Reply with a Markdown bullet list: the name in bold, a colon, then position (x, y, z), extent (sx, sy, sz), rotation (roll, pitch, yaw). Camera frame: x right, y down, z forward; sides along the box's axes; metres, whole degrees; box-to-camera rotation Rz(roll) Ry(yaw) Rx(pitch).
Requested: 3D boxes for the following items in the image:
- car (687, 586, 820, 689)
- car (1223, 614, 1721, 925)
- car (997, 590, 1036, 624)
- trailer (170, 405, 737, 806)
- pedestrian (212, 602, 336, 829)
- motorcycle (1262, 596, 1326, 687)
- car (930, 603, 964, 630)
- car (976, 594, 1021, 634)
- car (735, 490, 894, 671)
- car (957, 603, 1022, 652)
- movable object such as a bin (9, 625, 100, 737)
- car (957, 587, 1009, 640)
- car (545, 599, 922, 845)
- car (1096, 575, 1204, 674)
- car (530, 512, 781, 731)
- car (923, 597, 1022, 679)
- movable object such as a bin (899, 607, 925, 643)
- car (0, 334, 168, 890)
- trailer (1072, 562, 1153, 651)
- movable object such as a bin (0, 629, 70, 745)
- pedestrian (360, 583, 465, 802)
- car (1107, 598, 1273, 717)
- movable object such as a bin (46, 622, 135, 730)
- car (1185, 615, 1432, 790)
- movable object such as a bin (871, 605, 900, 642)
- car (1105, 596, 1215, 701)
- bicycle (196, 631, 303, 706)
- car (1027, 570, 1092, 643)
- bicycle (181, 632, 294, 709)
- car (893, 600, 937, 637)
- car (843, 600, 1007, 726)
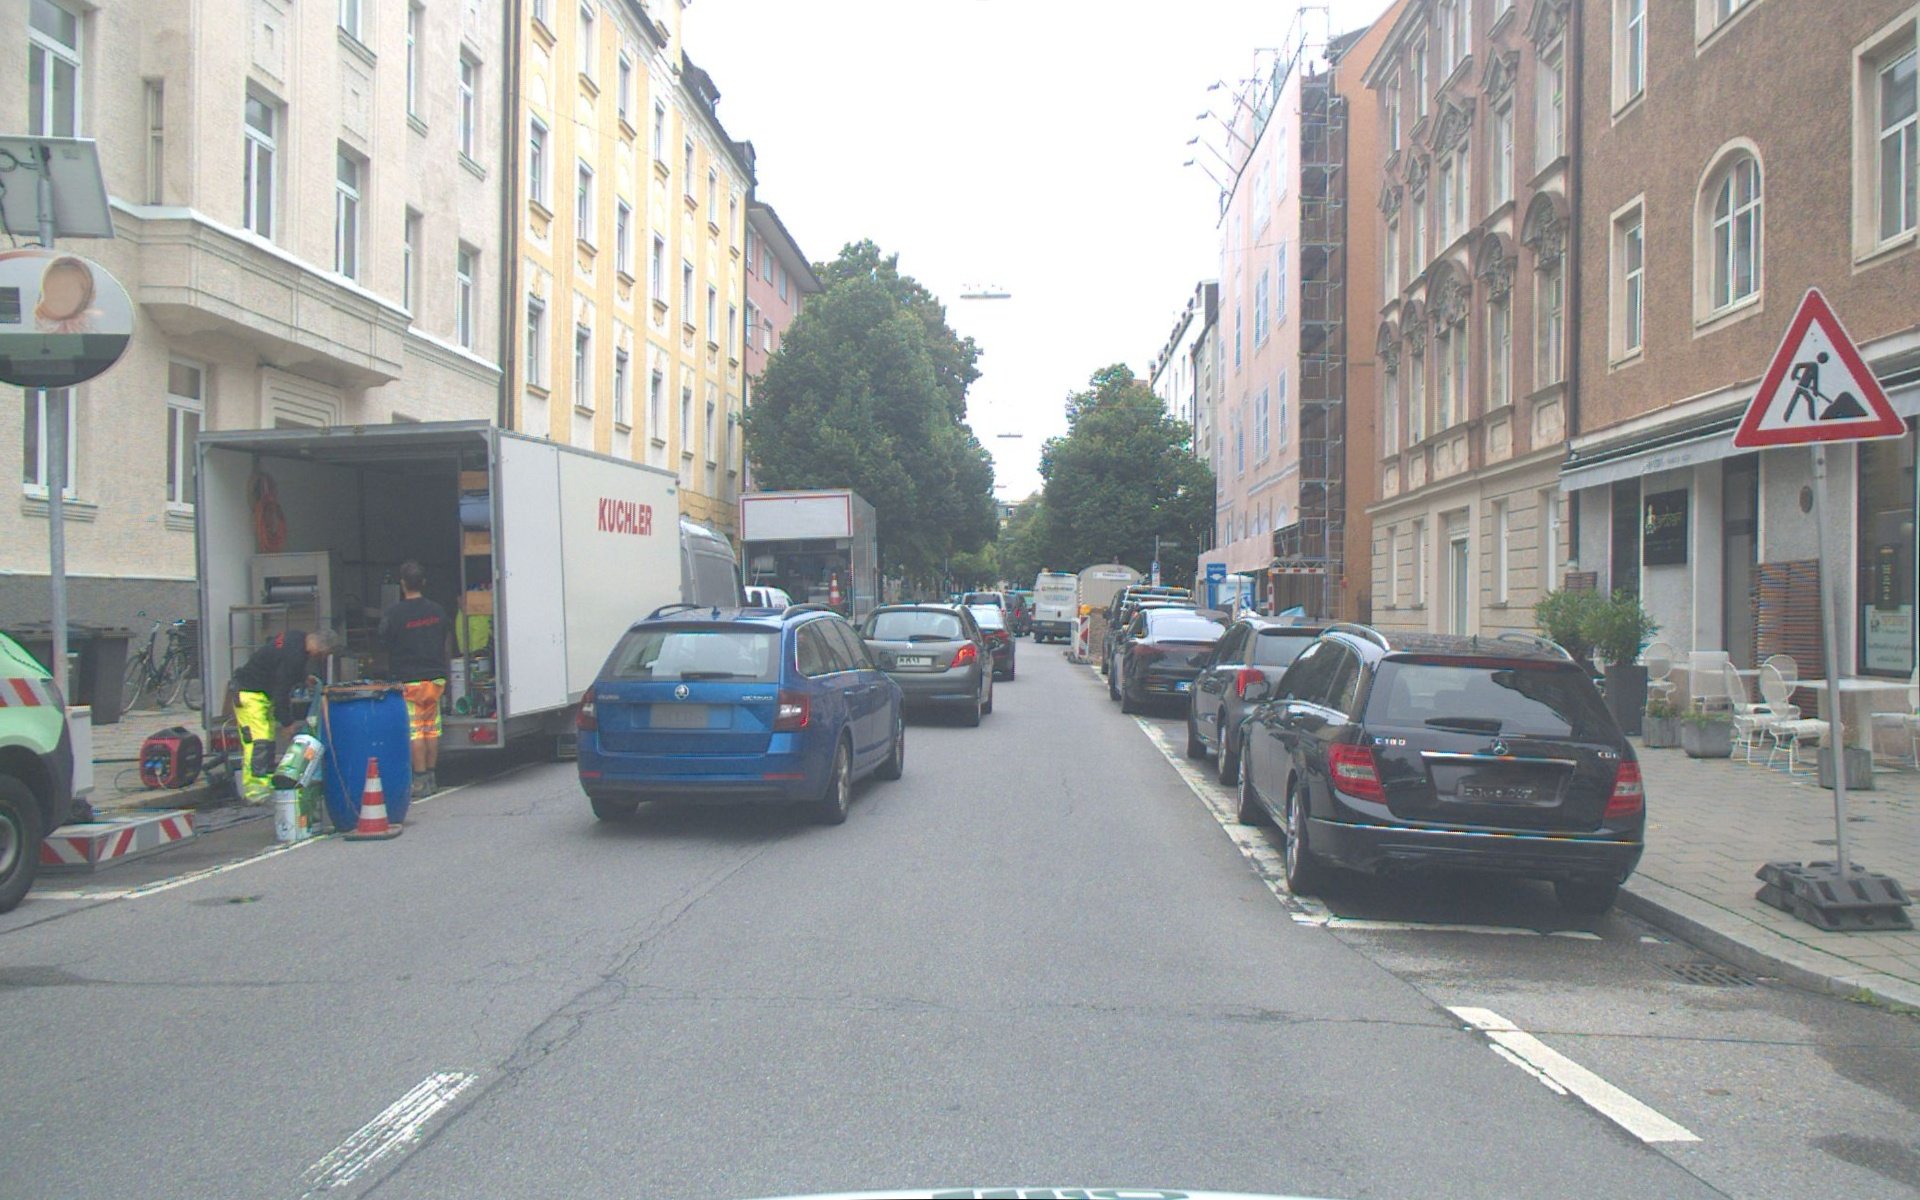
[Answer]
- **car**: position (-3.874, 0.684, 31.694), extent (1.726, 1.810, 4.328), rotation (-1, 0, 3)
- **car**: position (2.820, 0.825, 10.284), extent (1.808, 1.429, 4.789), rotation (1, 0, 3)
- **car**: position (3.008, 0.365, 87.149), extent (1.966, 1.682, 4.349), rotation (2, 0, 3)
- **trailer**: position (-4.508, 0.020, 16.785), extent (2.745, 3.020, 7.604), rotation (-3, 0, 5)
- **pedestrian**: position (-5.021, 0.821, 12.137), extent (0.748, 1.608, 0.634), rotation (0, -1, -15)
- **motorcycle**: position (5.829, 0.703, 28.983), extent (0.853, 1.531, 1.998), rotation (1, 0, 4)
- **car**: position (-0.726, 0.929, 95.560), extent (1.774, 1.504, 4.001), rotation (1, 0, 2)
- **car**: position (1.742, 0.601, 73.505), extent (1.828, 1.682, 4.349), rotation (2, 0, 2)
- **car**: position (-3.318, -0.394, 40.036), extent (2.754, 3.884, 8.725), rotation (0, 0, 2)
- **car**: position (0.954, 0.812, 50.690), extent (1.828, 1.371, 4.349), rotation (2, 0, 2)
- **movable object such as a bin**: position (-9.504, 0.838, 17.370), extent (0.634, 1.148, 0.555), rotation (0, -1, 5)
- **car**: position (0.917, 0.494, 63.468), extent (1.828, 1.902, 4.349), rotation (2, 0, 2)
- **car**: position (-1.448, 0.754, 12.283), extent (1.751, 1.486, 4.317), rotation (0, 0, 7)
- **car**: position (4.131, 0.613, 36.668), extent (2.039, 1.955, 5.142), rotation (2, -3, 3)
- **car**: position (-4.211, 0.277, 24.280), extent (2.013, 2.632, 6.878), rotation (-4, 0, 2)
- **car**: position (0.292, 0.717, 33.409), extent (1.829, 1.479, 4.348), rotation (2, 0, 2)
- **movable object such as a bin**: position (-1.908, 0.992, 66.078), extent (0.999, 1.400, 1.103), rotation (-1, 0, -2)
- **car**: position (-5.670, 0.047, 5.884), extent (2.096, 2.617, 6.797), rotation (1, 0, 3)
- **trailer**: position (5.333, 0.251, 58.816), extent (2.450, 2.889, 6.903), rotation (2, -1, 2)
- **movable object such as a bin**: position (-9.549, 0.867, 16.781), extent (0.662, 1.148, 0.639), rotation (0, -1, 5)
- **pedestrian**: position (-4.275, 0.706, 12.955), extent (0.749, 1.659, 0.634), rotation (0, -1, -17)
- **car**: position (3.373, 0.787, 25.279), extent (1.891, 1.580, 5.638), rotation (1, 0, 2)
- **movable object such as a bin**: position (-9.422, 0.816, 17.938), extent (0.658, 1.148, 0.555), rotation (0, -1, 5)
- **car**: position (3.105, 0.853, 15.495), extent (1.539, 1.419, 4.183), rotation (0, -1, 2)
- **movable object such as a bin**: position (-2.920, 0.933, 64.932), extent (1.060, 1.400, 1.083), rotation (-1, 0, -2)
- **car**: position (3.634, 0.857, 30.661), extent (1.658, 1.706, 4.409), rotation (3, -1, 3)
- **bicycle**: position (-9.442, 0.888, 22.042), extent (0.406, 0.930, 1.758), rotation (3, 0, 7)
- **car**: position (4.024, 0.287, 65.966), extent (2.068, 2.710, 5.504), rotation (2, -1, 8)
- **bicycle**: position (-9.219, 0.887, 21.165), extent (0.386, 0.930, 1.589), rotation (3, -1, 14)
- **car**: position (-1.948, 0.791, 72.809), extent (1.775, 1.504, 4.000), rotation (1, 0, 0)
- **car**: position (-0.358, 0.746, 21.055), extent (1.704, 1.446, 3.666), rotation (0, -1, 5)
